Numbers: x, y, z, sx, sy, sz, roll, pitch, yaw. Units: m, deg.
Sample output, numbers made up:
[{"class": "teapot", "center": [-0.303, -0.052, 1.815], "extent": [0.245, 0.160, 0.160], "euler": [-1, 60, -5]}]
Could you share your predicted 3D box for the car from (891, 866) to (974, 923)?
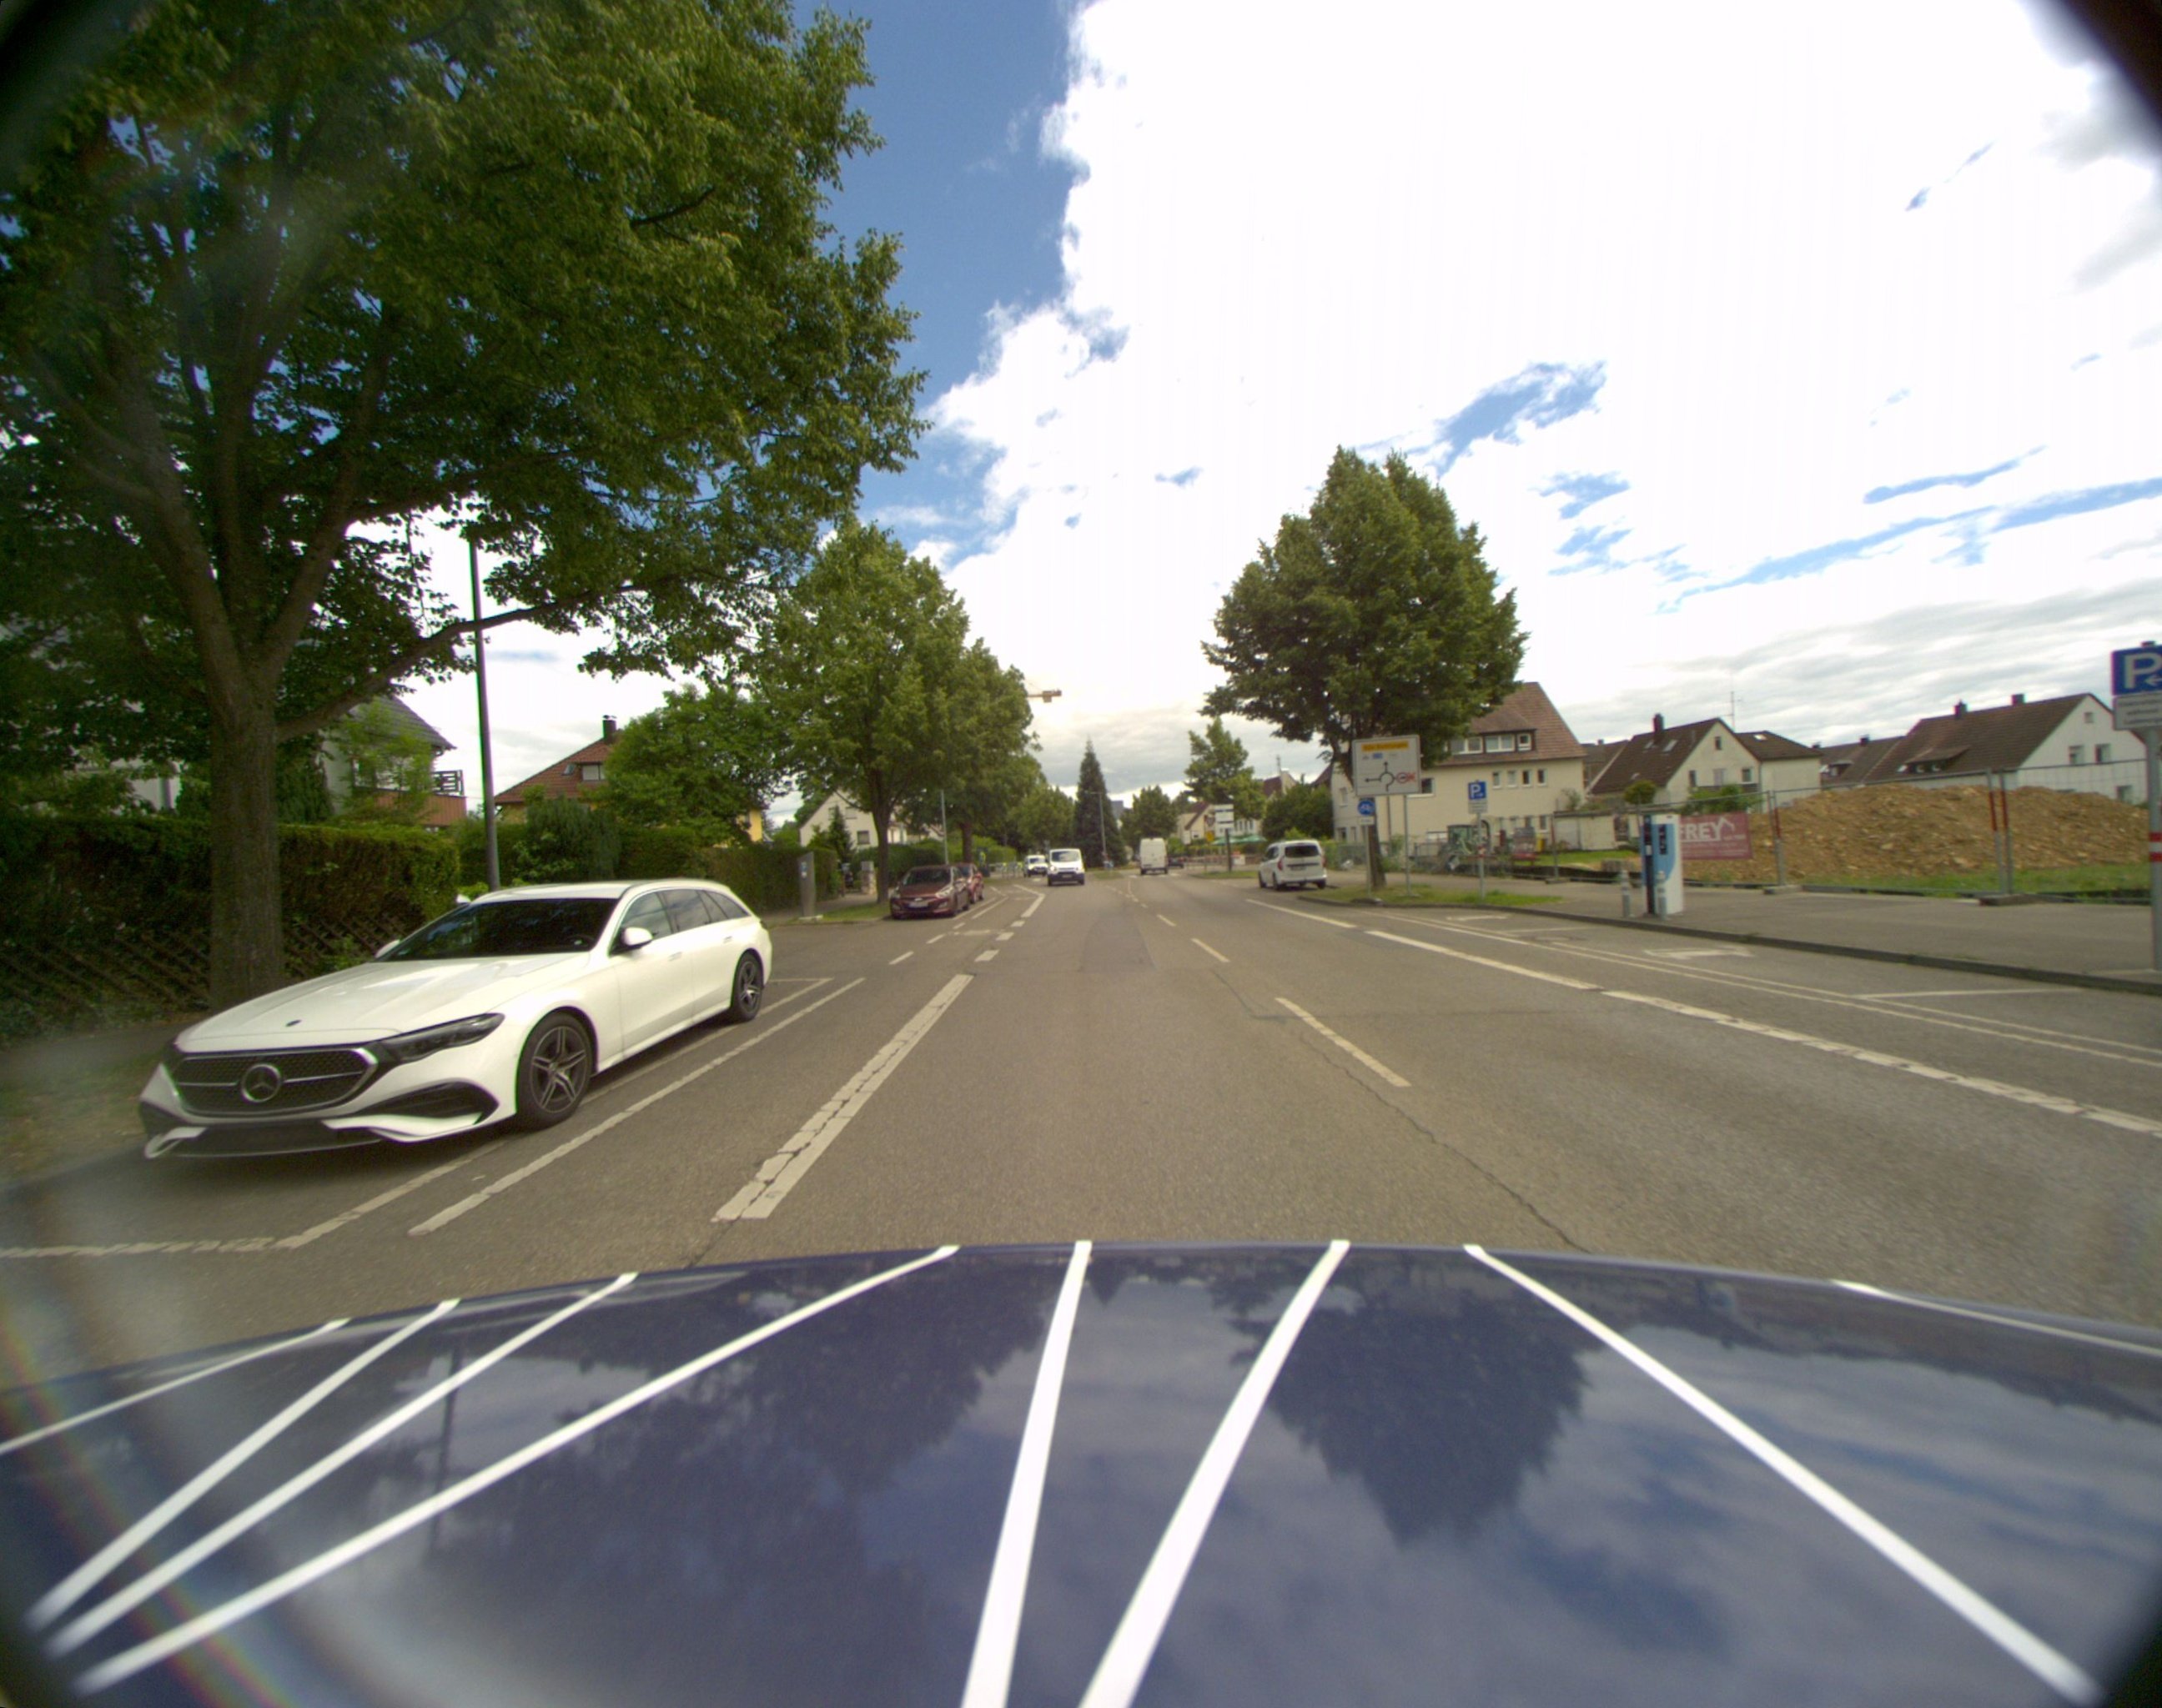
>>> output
[{"class": "car", "center": [-4.290, 1.131, 22.507], "extent": [1.657, 1.407, 4.176], "euler": [-2, 0, -1]}]

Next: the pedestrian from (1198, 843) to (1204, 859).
[{"class": "pedestrian", "center": [14.146, -0.383, 89.493], "extent": [0.637, 1.816, 0.567], "euler": [-4, 0, 11]}]

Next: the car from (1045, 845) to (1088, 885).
[{"class": "car", "center": [-0.861, 0.579, 42.689], "extent": [1.999, 2.002, 5.048], "euler": [-3, 0, -5]}]

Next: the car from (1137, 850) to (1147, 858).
[{"class": "car", "center": [11.600, 0.016, 144.729], "extent": [1.665, 1.466, 3.746], "euler": [-3, 0, -1]}]

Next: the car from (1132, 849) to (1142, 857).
[{"class": "car", "center": [11.205, -0.161, 151.800], "extent": [1.665, 1.466, 3.746], "euler": [-3, 0, -1]}]

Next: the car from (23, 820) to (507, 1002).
[{"class": "car", "center": [-13.650, 0.893, 13.070], "extent": [5.730, 2.576, 1.997], "euler": [-3, 0, -5]}]

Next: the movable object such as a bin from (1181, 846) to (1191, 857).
[{"class": "movable object such as a bin", "center": [14.320, -0.285, 103.622], "extent": [0.984, 1.408, 2.722], "euler": [-3, 0, 0]}]

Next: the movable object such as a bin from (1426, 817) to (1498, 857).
[{"class": "movable object such as a bin", "center": [22.649, -0.964, 45.386], "extent": [1.901, 2.175, 4.361], "euler": [-3, 0, -2]}]

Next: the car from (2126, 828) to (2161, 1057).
[{"class": "car", "center": [8.013, 0.571, 3.156], "extent": [1.689, 1.532, 4.132], "euler": [-2, 0, 1]}]

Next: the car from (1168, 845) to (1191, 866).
[{"class": "car", "center": [9.310, 0.112, 71.852], "extent": [1.925, 1.744, 4.001], "euler": [-3, 0, 6]}]

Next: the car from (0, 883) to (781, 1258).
[{"class": "car", "center": [-4.197, 1.111, 5.992], "extent": [1.810, 1.466, 4.811], "euler": [-3, 0, -2]}]

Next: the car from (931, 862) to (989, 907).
[{"class": "car", "center": [-4.472, 1.110, 28.584], "extent": [1.569, 1.447, 3.668], "euler": [-3, 0, -1]}]

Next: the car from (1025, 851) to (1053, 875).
[{"class": "car", "center": [-3.521, 0.728, 62.882], "extent": [1.927, 1.744, 3.997], "euler": [-3, 0, -7]}]

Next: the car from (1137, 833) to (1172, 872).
[{"class": "car", "center": [5.465, -0.124, 57.167], "extent": [2.024, 2.658, 5.806], "euler": [-3, 0, 1]}]

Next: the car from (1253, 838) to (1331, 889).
[{"class": "car", "center": [8.055, 0.331, 29.376], "extent": [1.775, 1.760, 4.551], "euler": [-3, 0, 1]}]
